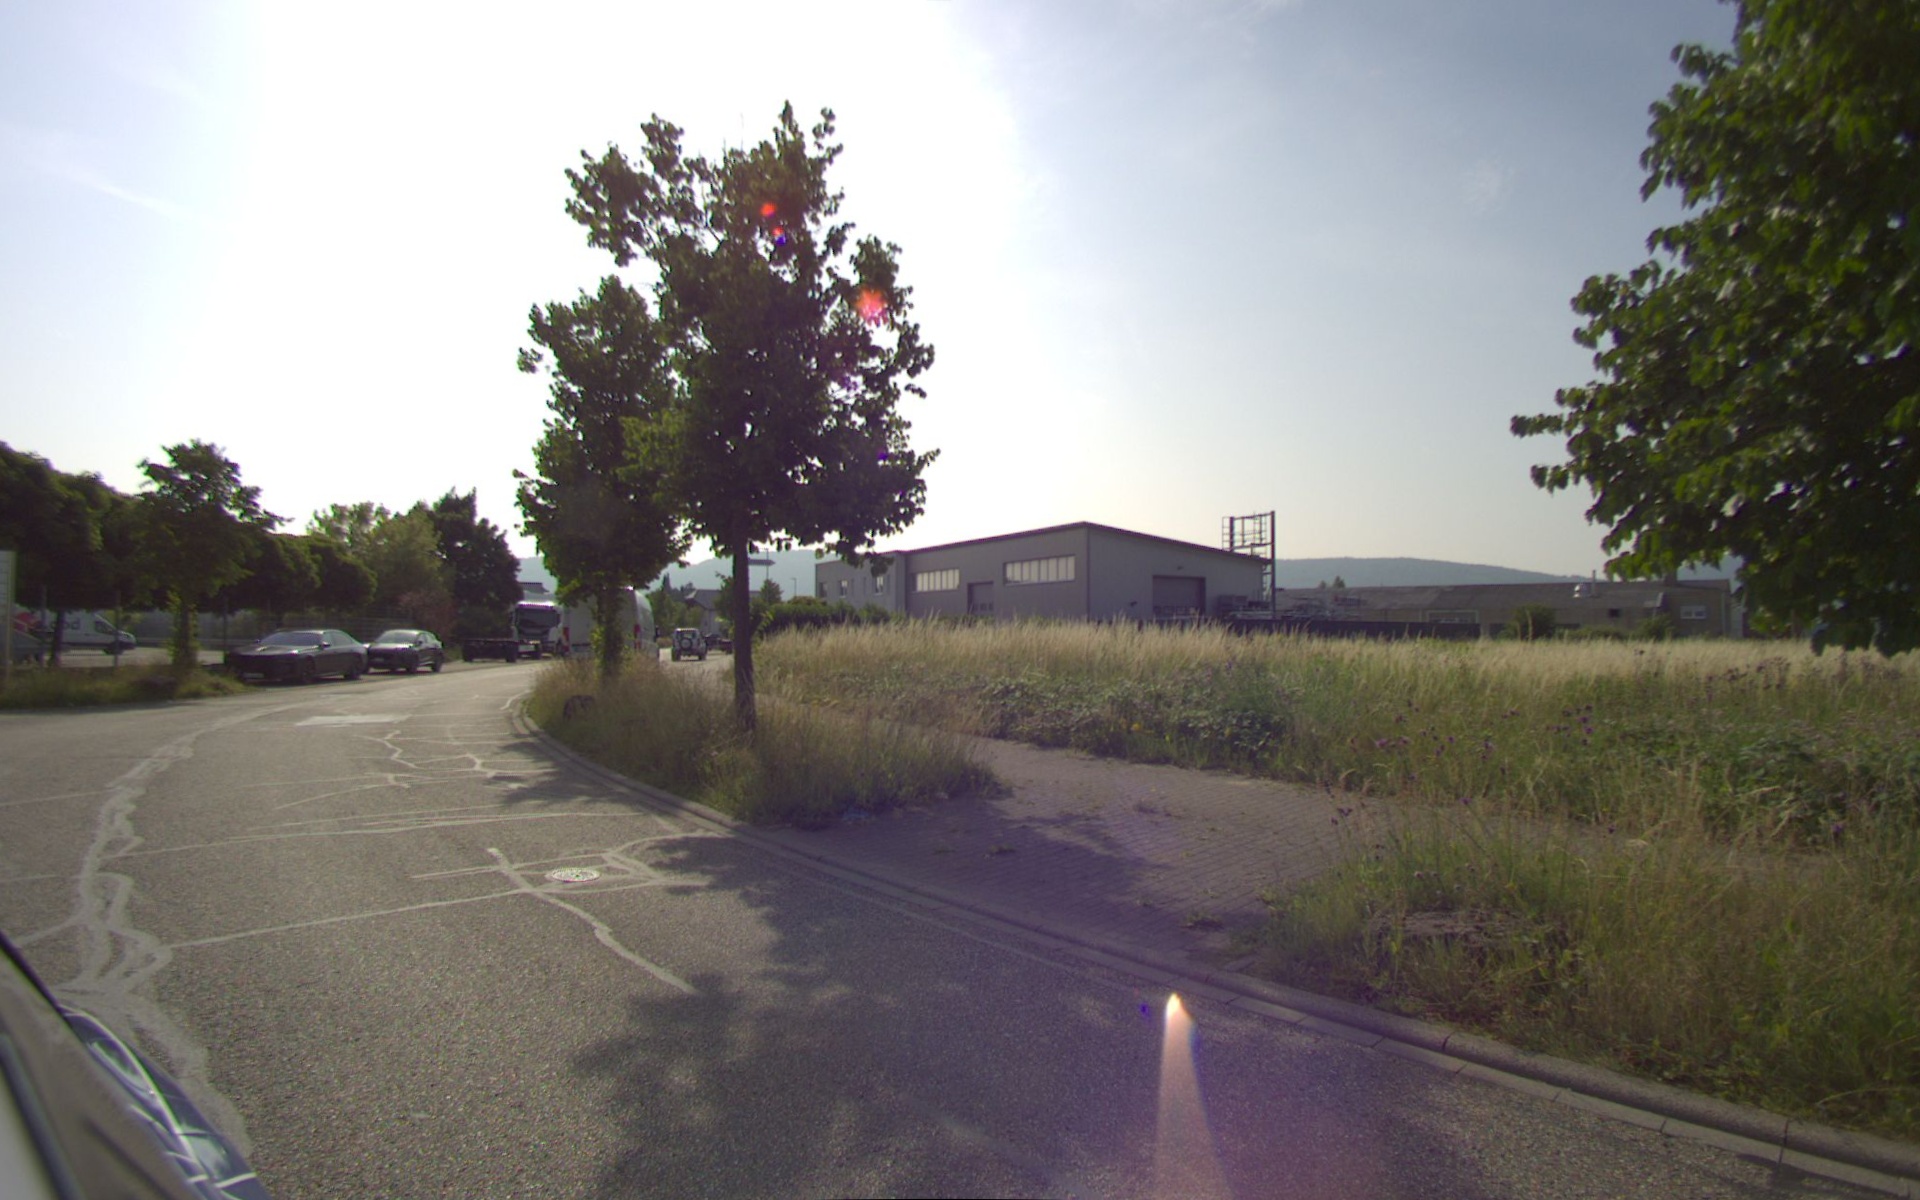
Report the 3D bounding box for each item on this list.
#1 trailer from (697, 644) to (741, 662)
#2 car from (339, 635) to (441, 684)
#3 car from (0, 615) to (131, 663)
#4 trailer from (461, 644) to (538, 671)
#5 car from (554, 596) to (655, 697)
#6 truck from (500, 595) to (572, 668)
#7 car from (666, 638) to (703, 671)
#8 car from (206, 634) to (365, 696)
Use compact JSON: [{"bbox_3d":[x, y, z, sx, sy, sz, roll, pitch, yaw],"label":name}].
[{"bbox_3d":[-17.279,3.801,73.090,2.513,1.082,9.751,-1,-2,-10],"label":"trailer"},{"bbox_3d":[-20.465,2.109,36.507,1.856,1.586,4.121,3,-2,-10],"label":"car"},{"bbox_3d":[-52.768,2.284,59.263,2.210,2.669,6.191,-2,-3,39],"label":"car"},{"bbox_3d":[-23.894,2.960,52.785,1.913,1.245,7.467,2,-3,-11],"label":"trailer"},{"bbox_3d":[-10.274,1.338,29.750,2.074,2.615,6.519,0,-2,-13],"label":"car"},{"bbox_3d":[-25.185,1.908,60.366,2.656,3.994,6.062,3,-3,-12],"label":"truck"},{"bbox_3d":[-14.622,2.902,53.812,1.576,1.663,3.651,-1,-3,-10],"label":"car"},{"bbox_3d":[-19.374,1.805,29.382,1.856,1.586,5.128,2,-2,-9],"label":"car"}]
